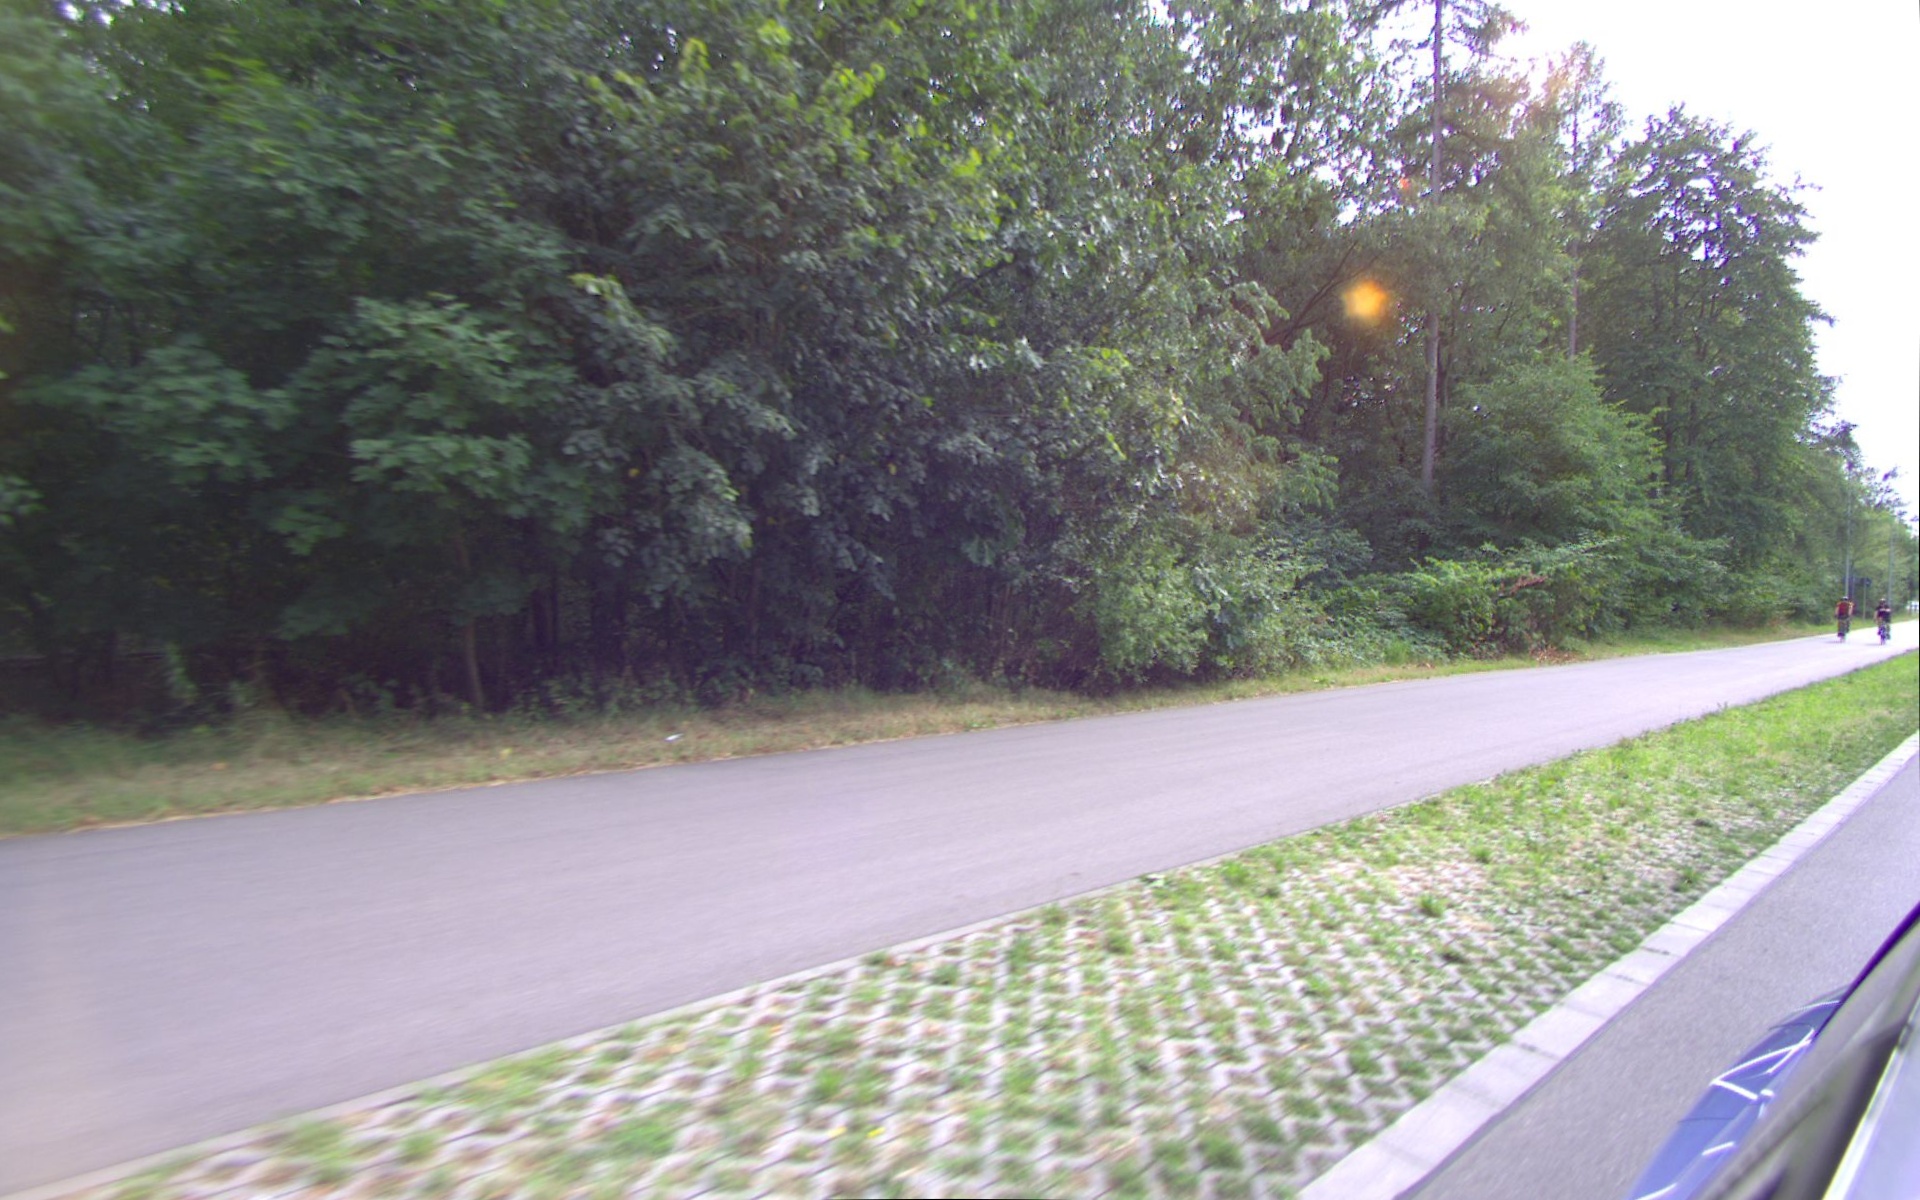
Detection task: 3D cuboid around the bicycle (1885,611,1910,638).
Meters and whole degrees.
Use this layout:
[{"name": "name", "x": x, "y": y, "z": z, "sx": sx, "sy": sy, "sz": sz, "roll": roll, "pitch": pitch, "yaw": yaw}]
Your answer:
[{"name": "bicycle", "x": 35.159, "y": 0.895, "z": 37.965, "sx": 1.726, "sy": 0.923, "sz": 0.566, "roll": -1, "pitch": 4, "yaw": -45}]

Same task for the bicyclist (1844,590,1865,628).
[{"name": "bicyclist", "x": 34.336, "y": 0.335, "z": 38.850, "sx": 1.167, "sy": 1.433, "sz": 0.520, "roll": -1, "pitch": 0, "yaw": -45}]

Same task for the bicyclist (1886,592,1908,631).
[{"name": "bicyclist", "x": 35.156, "y": 0.420, "z": 37.962, "sx": 1.167, "sy": 1.433, "sz": 0.520, "roll": -1, "pitch": 2, "yaw": -45}]

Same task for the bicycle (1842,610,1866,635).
[{"name": "bicycle", "x": 34.284, "y": 0.841, "z": 38.810, "sx": 1.856, "sy": 0.923, "sz": 0.566, "roll": 1, "pitch": -1, "yaw": -45}]
